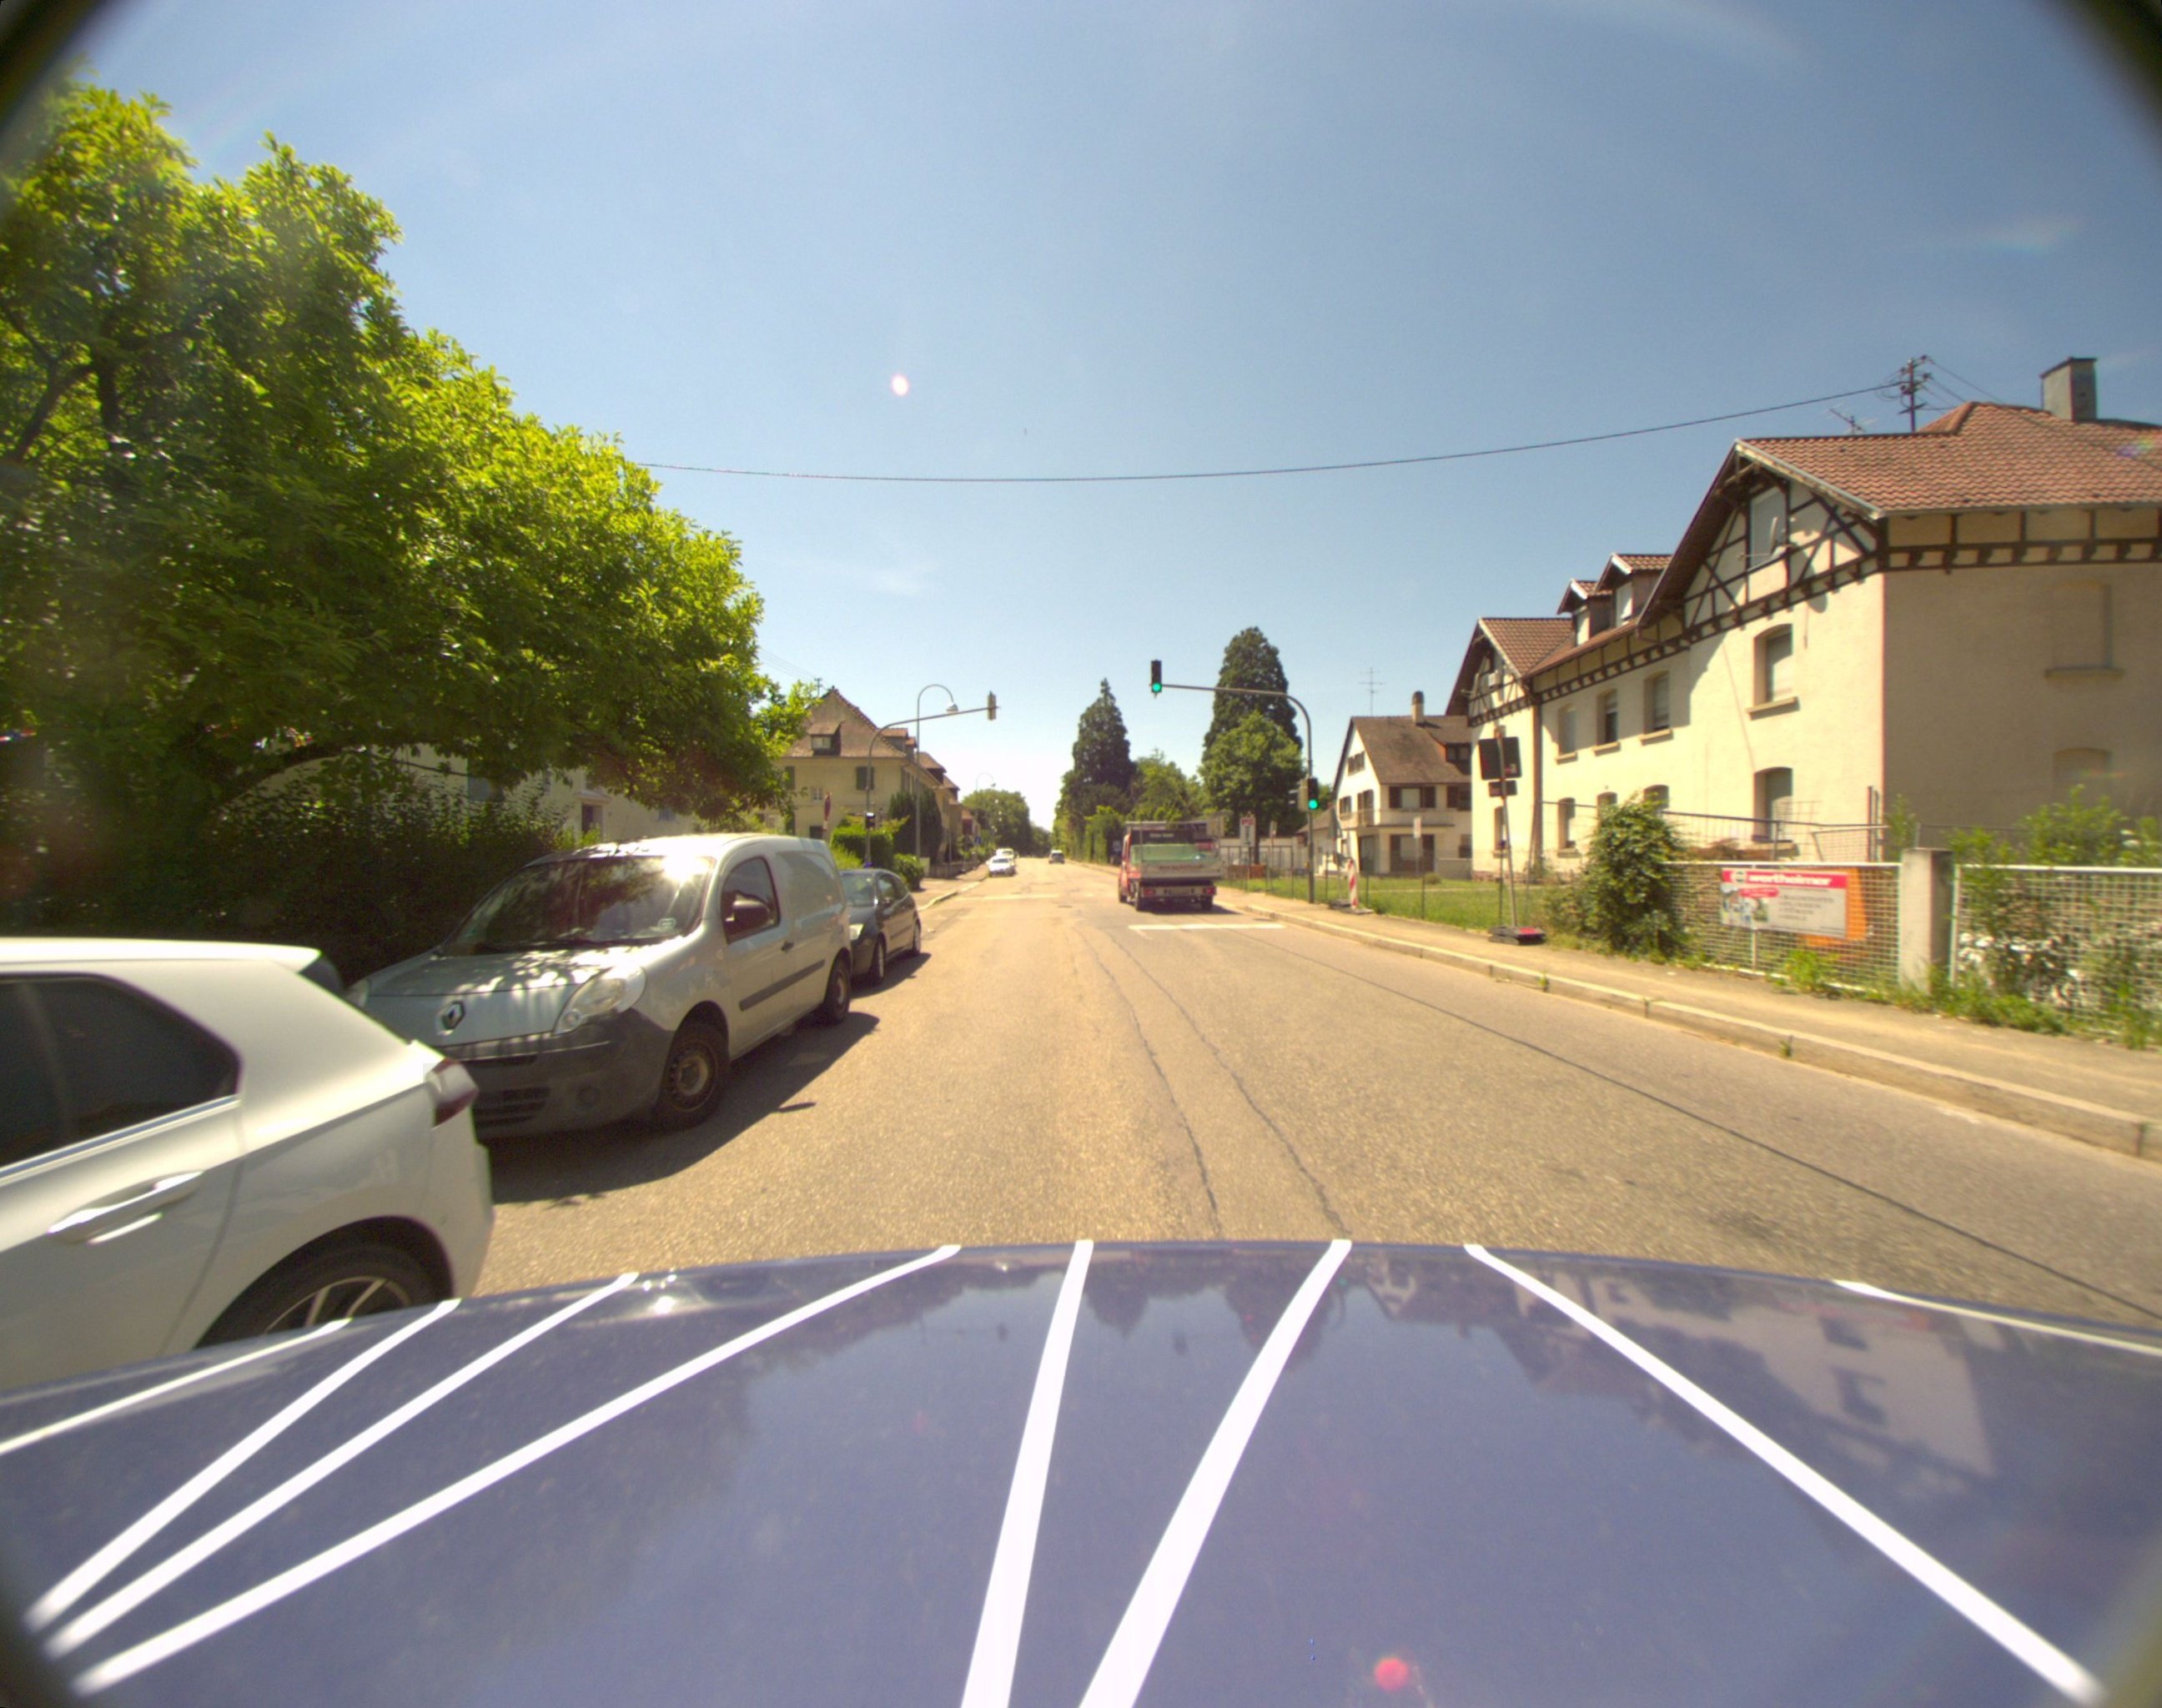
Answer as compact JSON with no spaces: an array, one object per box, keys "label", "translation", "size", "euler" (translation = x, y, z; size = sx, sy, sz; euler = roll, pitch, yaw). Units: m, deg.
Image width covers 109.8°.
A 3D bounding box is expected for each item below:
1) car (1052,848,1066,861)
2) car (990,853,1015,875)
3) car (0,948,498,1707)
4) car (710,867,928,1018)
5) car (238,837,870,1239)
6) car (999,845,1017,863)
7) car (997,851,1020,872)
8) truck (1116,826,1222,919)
[{"label":"car","translation":[-2.708,0.042,93.906],"size":[1.657,1.553,3.883],"euler":[1,1,-3]},{"label":"car","translation":[-5.593,0.682,54.433],"size":[1.671,1.457,3.997],"euler":[-2,1,-6]},{"label":"car","translation":[-2.691,1.061,0.230],"size":[1.666,1.427,4.128],"euler":[-3,1,2]},{"label":"car","translation":[-3.264,1.004,10.323],"size":[1.633,1.454,4.015],"euler":[-3,1,-2]},{"label":"car","translation":[-3.032,0.842,5.646],"size":[1.666,1.793,4.202],"euler":[-3,1,0]},{"label":"car","translation":[-7.930,-0.019,82.913],"size":[1.853,1.858,4.688],"euler":[-2,1,-5]},{"label":"car","translation":[-5.712,0.581,59.573],"size":[1.671,1.427,3.997],"euler":[-2,2,-5]},{"label":"truck","translation":[2.348,0.472,22.243],"size":[2.133,2.325,6.433],"euler":[0,0,-2]}]
